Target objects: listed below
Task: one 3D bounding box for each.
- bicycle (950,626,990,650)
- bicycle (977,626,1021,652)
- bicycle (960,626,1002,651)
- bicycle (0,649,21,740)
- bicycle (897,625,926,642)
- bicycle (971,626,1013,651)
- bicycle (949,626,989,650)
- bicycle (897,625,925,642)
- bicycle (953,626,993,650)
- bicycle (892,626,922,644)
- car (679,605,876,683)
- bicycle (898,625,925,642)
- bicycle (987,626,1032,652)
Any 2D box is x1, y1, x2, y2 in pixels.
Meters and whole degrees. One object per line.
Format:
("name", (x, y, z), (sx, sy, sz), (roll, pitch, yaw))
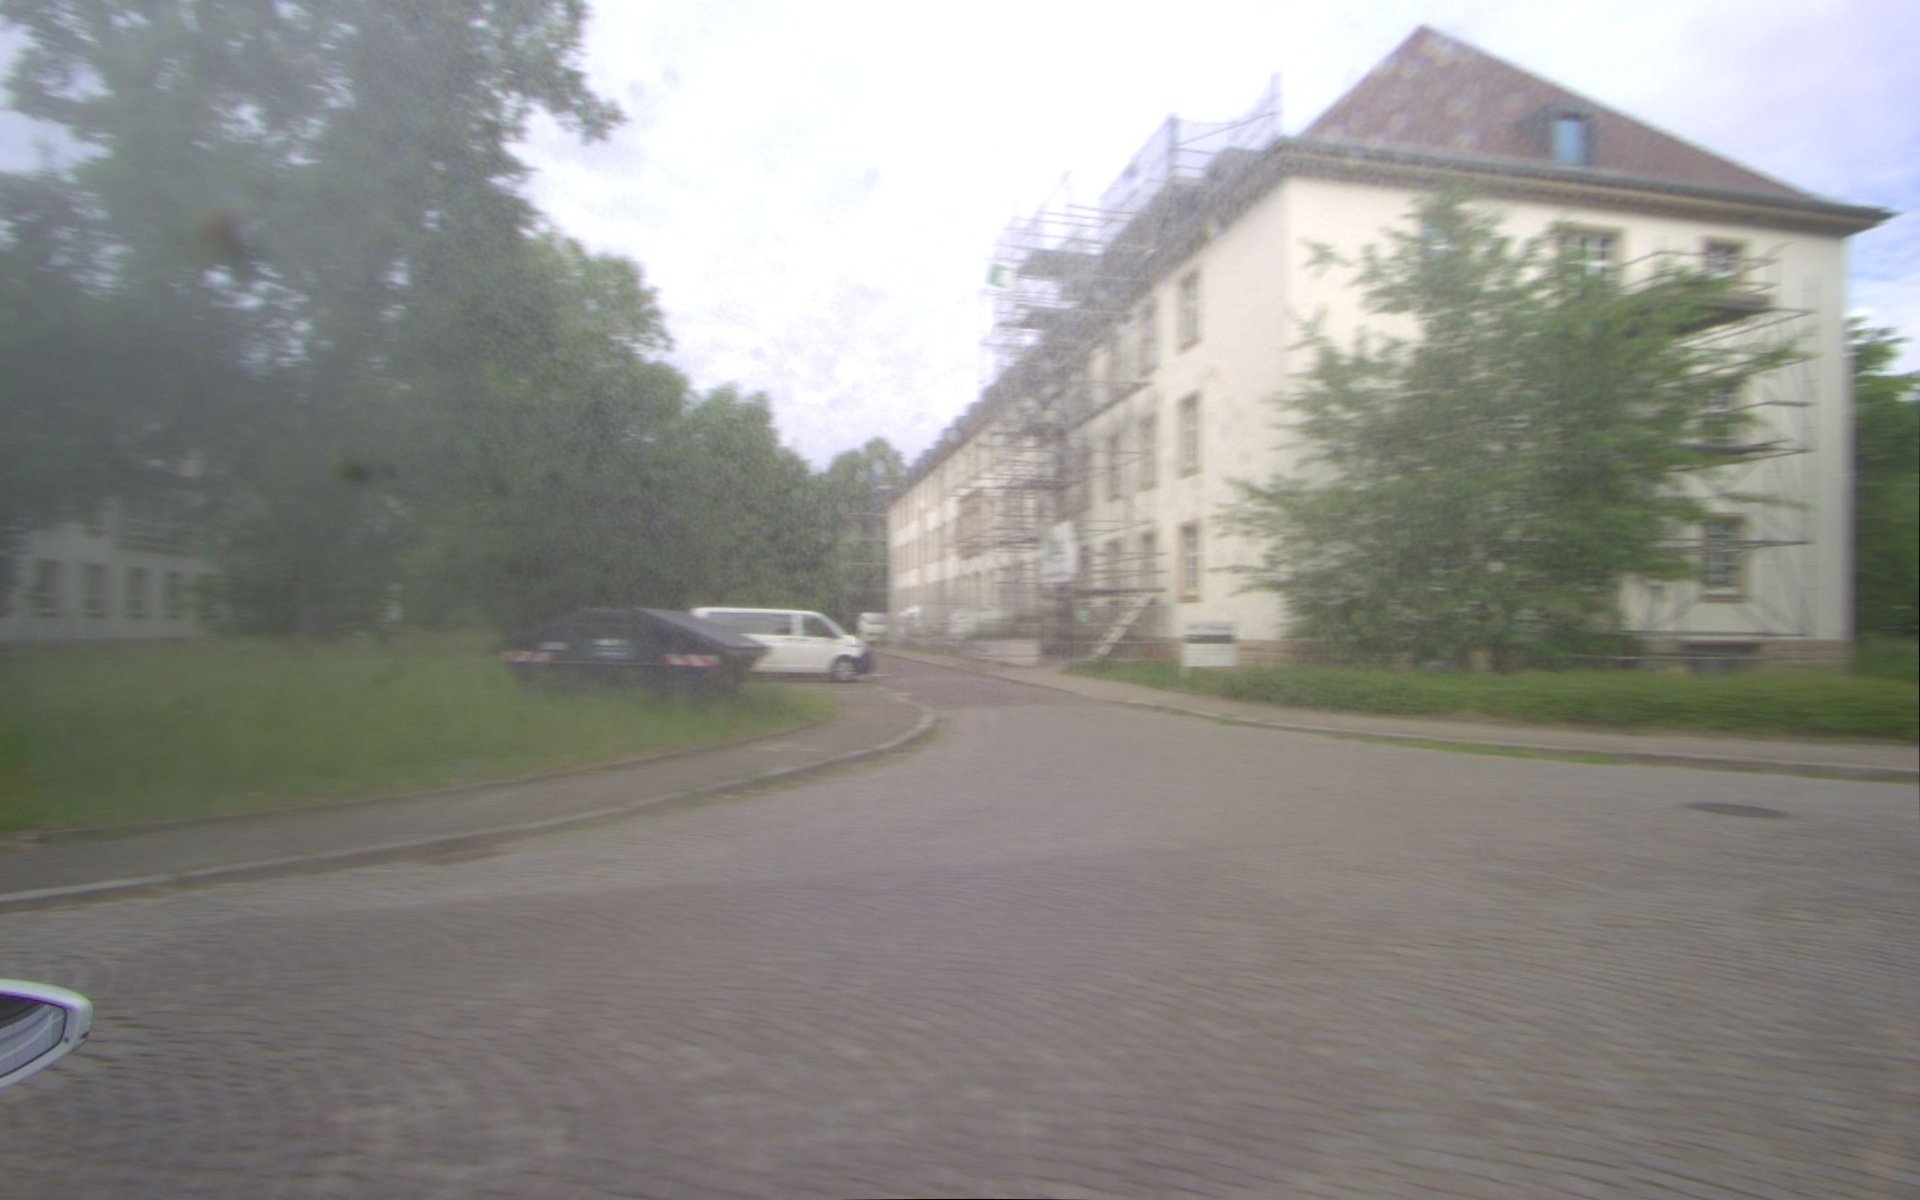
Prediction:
("bicycle", (0.451, 1.773, 46.942), (1.826, 1.109, 0.511), (0, -1, -5))
("bicycle", (1.653, 1.645, 42.569), (1.826, 1.109, 0.511), (0, -1, -5))
("bicycle", (0.951, 1.719, 45.063), (1.826, 1.109, 0.511), (0, -1, -5))
("bicycle", (-12.890, 1.188, 12.419), (1.739, 1.126, 0.475), (1, -1, -29))
("bicycle", (-3.197, 2.206, 65.501), (1.826, 1.109, 0.511), (0, -1, 10))
("bicycle", (1.409, 1.694, 44.145), (1.826, 1.109, 0.511), (0, -1, -5))
("bicycle", (0.416, 1.788, 47.394), (1.826, 1.109, 0.511), (0, -1, -5))
("bicycle", (-3.288, 2.250, 66.887), (1.826, 1.109, 0.511), (0, -1, -5))
("bicycle", (0.586, 1.759, 46.443), (1.826, 1.109, 0.511), (0, -1, -5))
("bicycle", (-3.337, 2.200, 63.563), (1.826, 1.109, 0.511), (0, -1, 10))
("car", (-5.027, 1.186, 27.730), (5.179, 2.022, 1.967), (0, -1, -13))
("bicycle", (-3.261, 2.277, 67.702), (1.826, 1.109, 0.511), (0, -1, -5))
("bicycle", (2.074, 1.634, 42.101), (1.826, 1.109, 0.511), (0, -1, -5))
